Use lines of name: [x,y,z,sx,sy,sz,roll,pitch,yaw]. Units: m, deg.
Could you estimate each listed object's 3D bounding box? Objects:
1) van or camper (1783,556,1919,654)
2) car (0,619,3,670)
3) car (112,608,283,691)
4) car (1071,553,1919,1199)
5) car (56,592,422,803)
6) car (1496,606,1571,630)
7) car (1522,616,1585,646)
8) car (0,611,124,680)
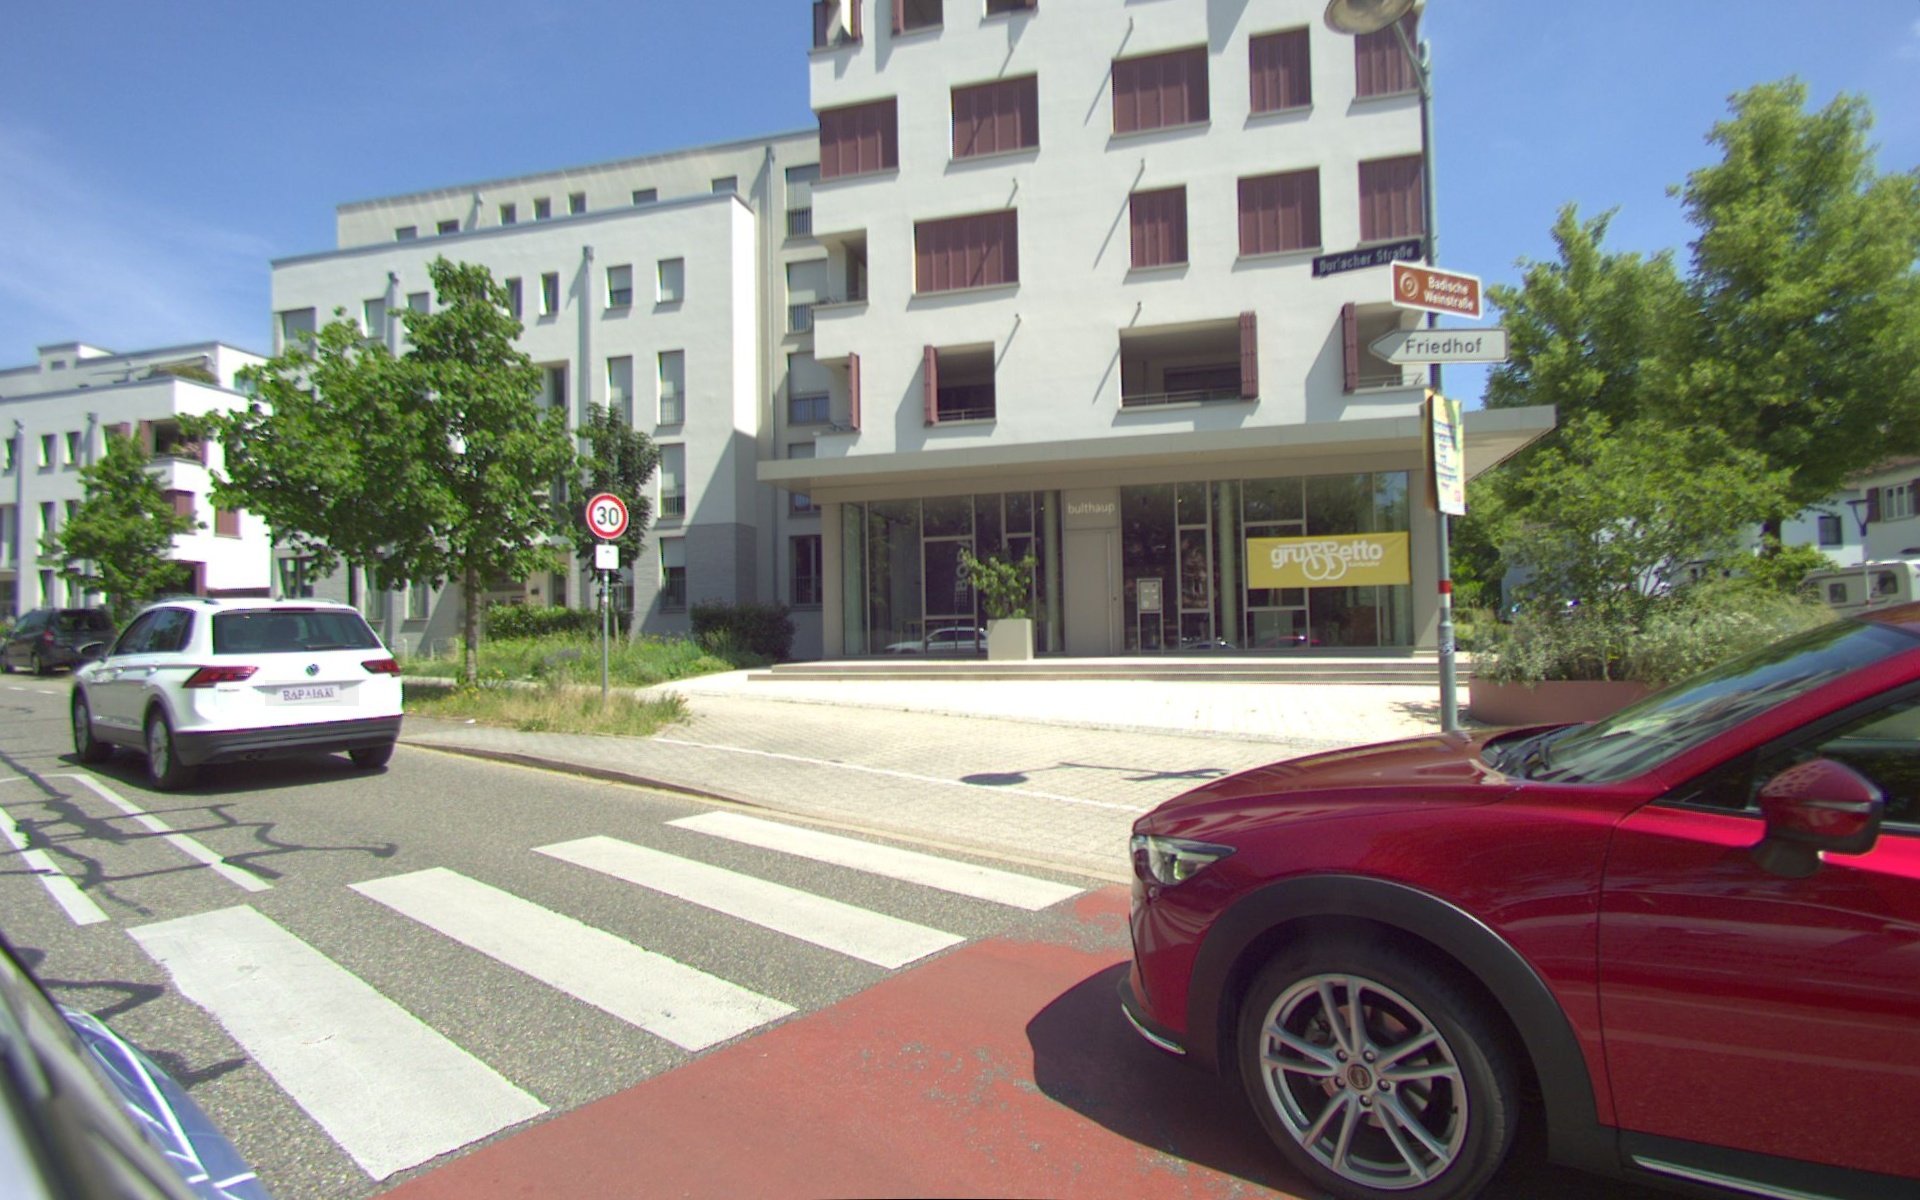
van or camper: [27.462,0.107,29.867,2.251,2.658,5.864,-4,-2,11]
car: [-31.930,1.415,31.721,3.610,1.602,1.774,-1,-1,28]
car: [-16.532,1.031,21.906,4.008,1.650,1.681,-1,-1,33]
car: [2.434,0.676,2.374,3.983,1.516,1.736,-2,-2,35]
car: [-7.054,0.792,9.766,4.114,1.621,1.793,-1,-1,38]
car: [39.519,1.259,69.764,4.069,1.621,1.813,-1,-1,6]
car: [31.772,1.636,54.295,1.738,1.516,3.976,-1,-1,12]
car: [-23.864,1.162,26.764,3.616,1.713,1.681,-1,-1,33]
